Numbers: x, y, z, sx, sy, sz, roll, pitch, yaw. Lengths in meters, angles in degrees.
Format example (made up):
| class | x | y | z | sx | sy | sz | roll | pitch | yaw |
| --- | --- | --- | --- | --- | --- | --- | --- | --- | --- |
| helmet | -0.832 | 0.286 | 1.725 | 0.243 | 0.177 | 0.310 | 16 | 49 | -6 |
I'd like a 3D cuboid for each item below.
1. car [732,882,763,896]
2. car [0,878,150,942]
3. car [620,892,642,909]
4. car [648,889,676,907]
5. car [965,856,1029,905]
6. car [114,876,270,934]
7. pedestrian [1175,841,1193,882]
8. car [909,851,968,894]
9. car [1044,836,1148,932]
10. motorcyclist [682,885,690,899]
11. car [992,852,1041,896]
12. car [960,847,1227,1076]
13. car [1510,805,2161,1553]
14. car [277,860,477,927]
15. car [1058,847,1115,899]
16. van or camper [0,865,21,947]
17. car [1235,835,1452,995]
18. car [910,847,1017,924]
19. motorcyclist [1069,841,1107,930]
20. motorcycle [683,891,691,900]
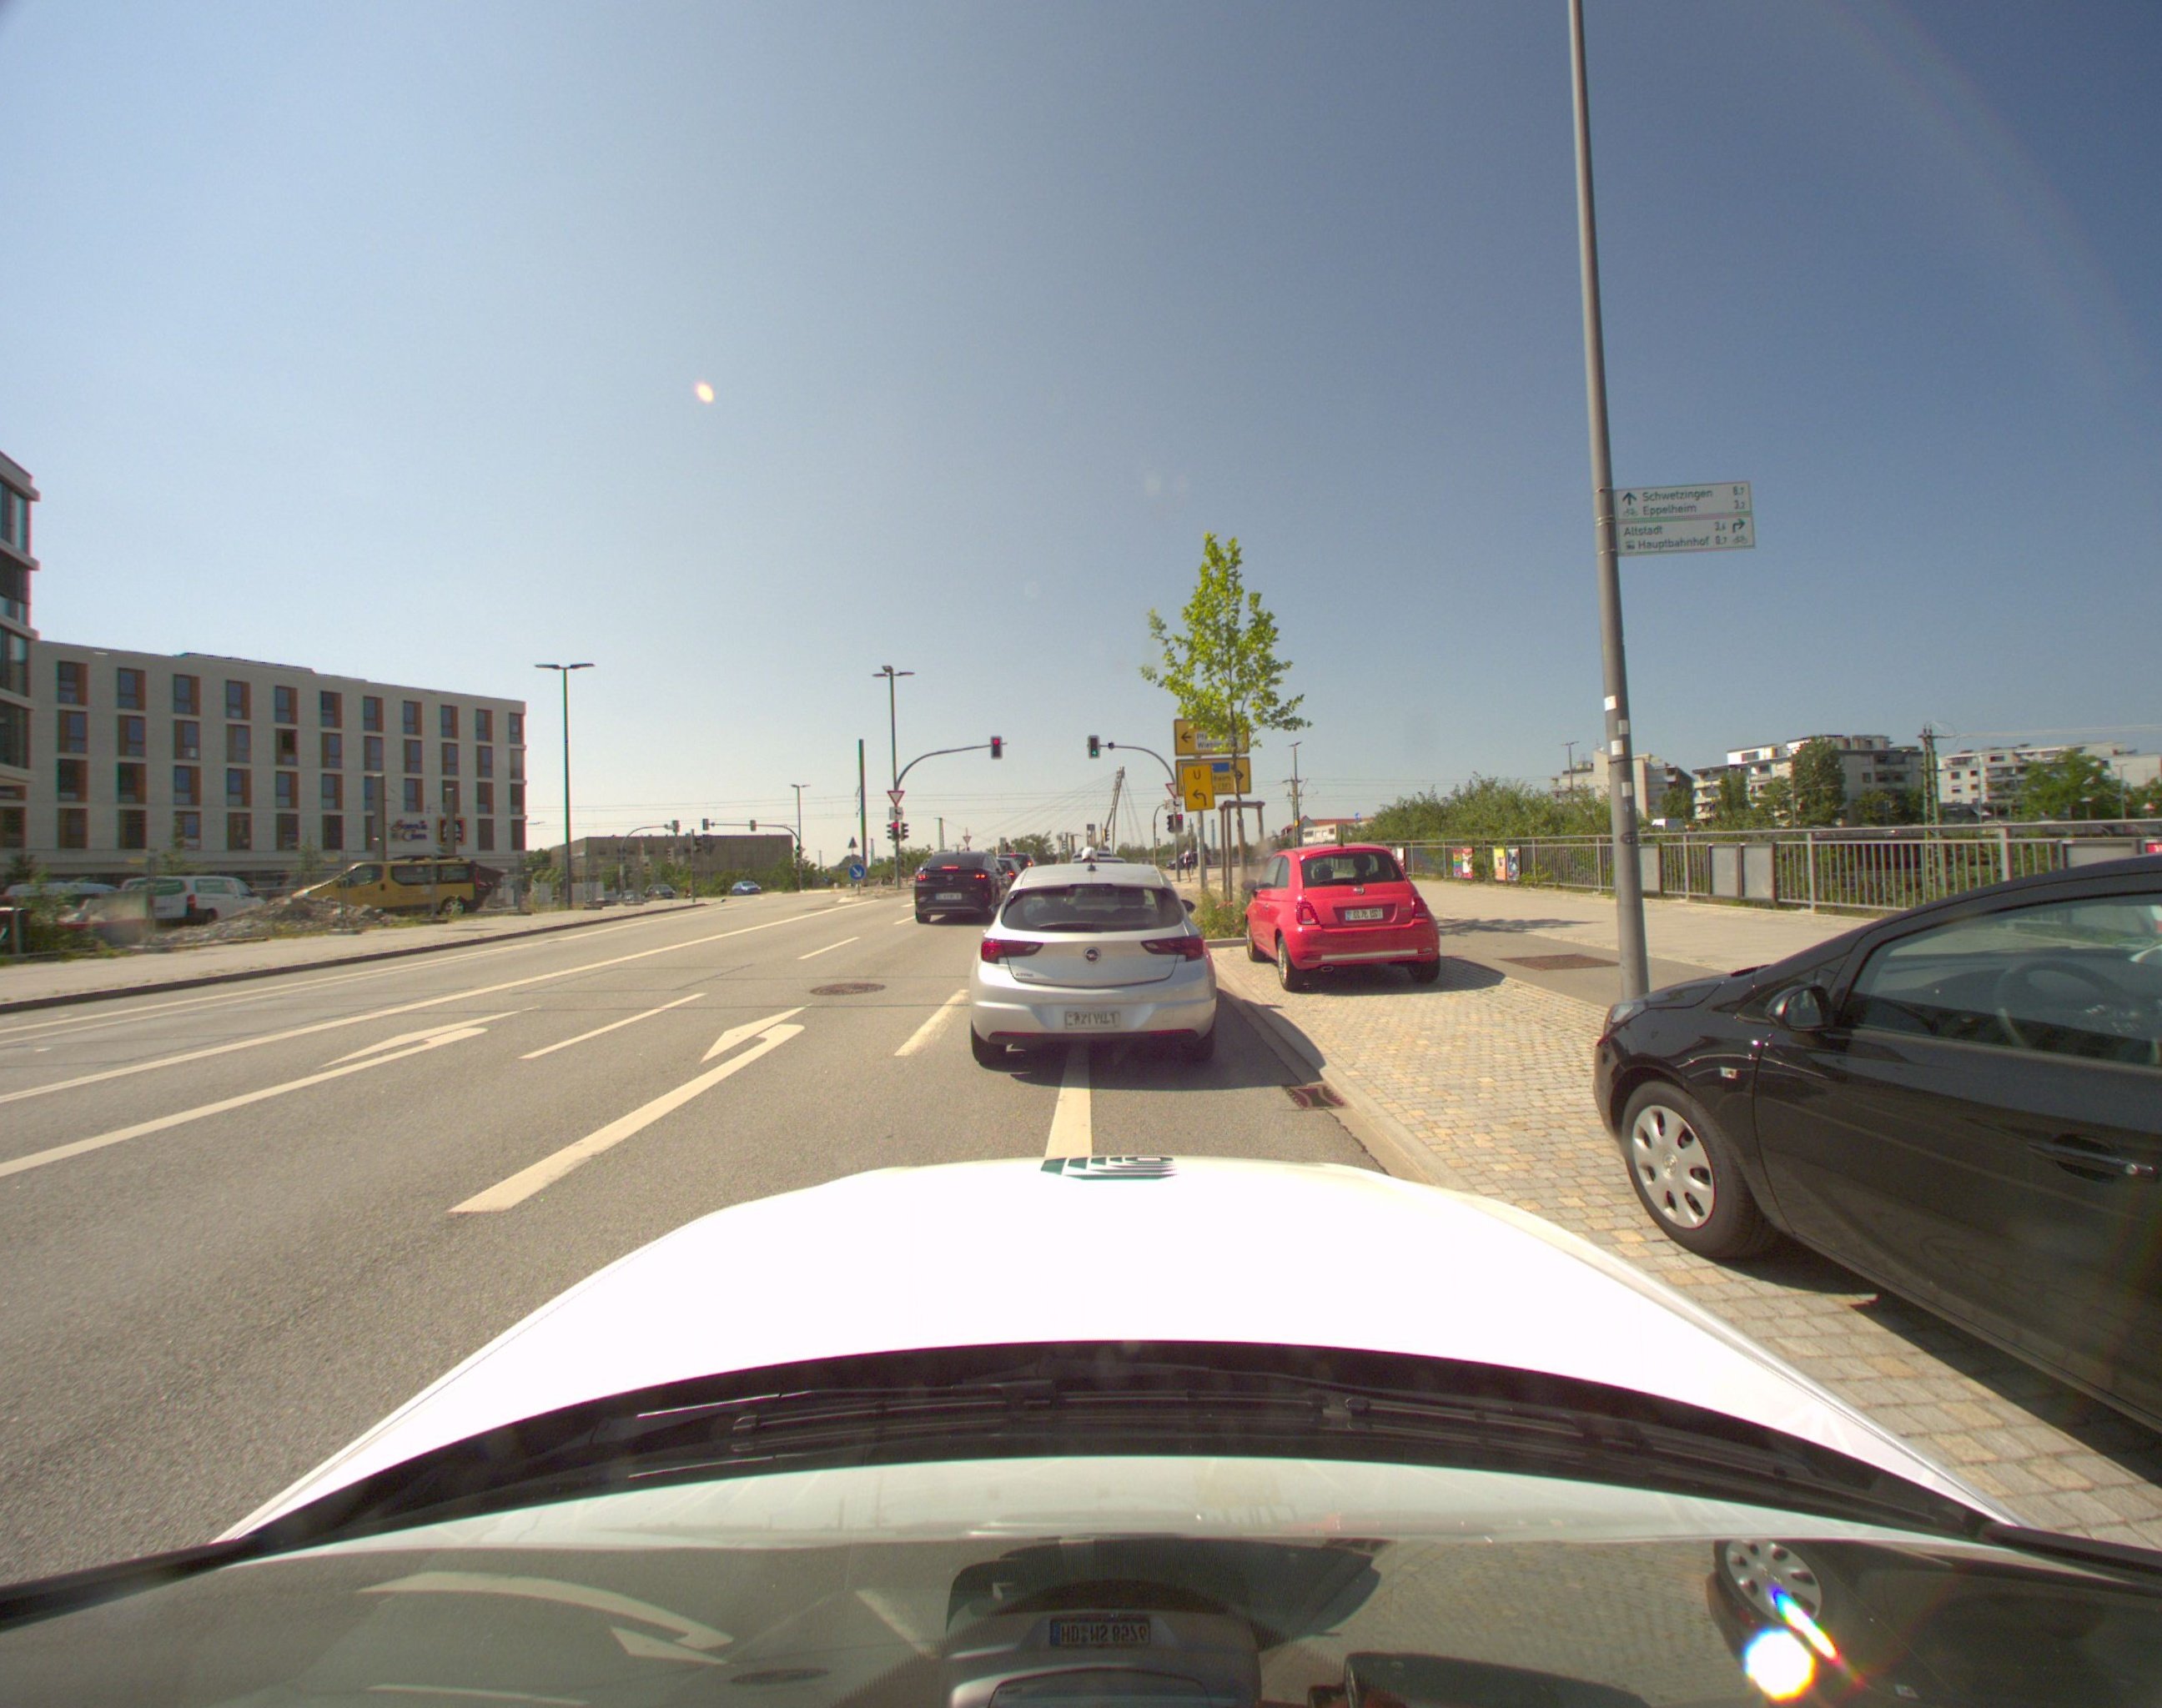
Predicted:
| class | x | y | z | sx | sy | sz | roll | pitch | yaw |
| --- | --- | --- | --- | --- | --- | --- | --- | --- | --- |
| car | -33.220 | 3.458 | 81.130 | 1.831 | 1.331 | 3.954 | 0 | -2 | -38 |
| car | -33.532 | 1.794 | 27.274 | 1.795 | 1.857 | 3.816 | 0 | -1 | -27 |
| car | -44.975 | 4.618 | 81.440 | 1.578 | 1.587 | 3.441 | 0 | -1 | -35 |
| car | -38.531 | 4.044 | 74.869 | 1.686 | 1.476 | 3.368 | -2 | 0 | -37 |
| car | -2.599 | 0.793 | 25.893 | 1.569 | 1.434 | 3.786 | 0 | -1 | 1 |
| car | -31.029 | 1.690 | 28.655 | 1.873 | 1.774 | 4.619 | 0 | -1 | -22 |
| pedestrian | 4.707 | 0.328 | 37.333 | 0.645 | 1.836 | 0.798 | -3 | -1 | 0 |
| car | -5.407 | 0.691 | 31.236 | 1.592 | 1.547 | 3.761 | 0 | -1 | 0 |
| car | 0.357 | 0.561 | 17.761 | 1.986 | 1.820 | 4.404 | 0 | 0 | 2 |
| motorcyclist | -45.241 | 4.351 | 93.294 | 0.756 | 1.494 | 0.670 | 0 | -1 | -36 |
| car | -2.490 | 0.759 | 32.014 | 1.644 | 1.615 | 3.819 | 0 | -1 | 0 |
| car | 0.066 | 0.713 | 7.328 | 1.738 | 1.478 | 3.998 | 0 | -1 | -1 |
| car | 2.885 | 0.591 | 1.919 | 1.654 | 1.426 | 4.001 | -4 | -1 | 2 |
| car | -22.708 | 1.192 | 26.429 | 1.964 | 1.962 | 4.655 | -1 | -1 | 40 |
| car | 0.240 | 0.555 | 26.725 | 1.717 | 1.563 | 4.002 | 0 | 1 | 2 |
| van or camper | -36.473 | 1.718 | 25.312 | 2.318 | 2.735 | 4.944 | 0 | -1 | -26 |
| car | 2.927 | 0.603 | 9.793 | 1.603 | 1.496 | 3.355 | -4 | 0 | 3 |
| car | -2.689 | 0.688 | 19.590 | 1.795 | 1.641 | 4.367 | 0 | -1 | 2 |
| motorcyclist | 0.108 | 0.490 | 13.121 | 0.580 | 1.389 | 0.706 | 0 | -1 | -2 |
| motorcycle | -45.112 | 4.731 | 93.168 | 0.523 | 0.955 | 1.913 | 0 | -1 | -35 |
